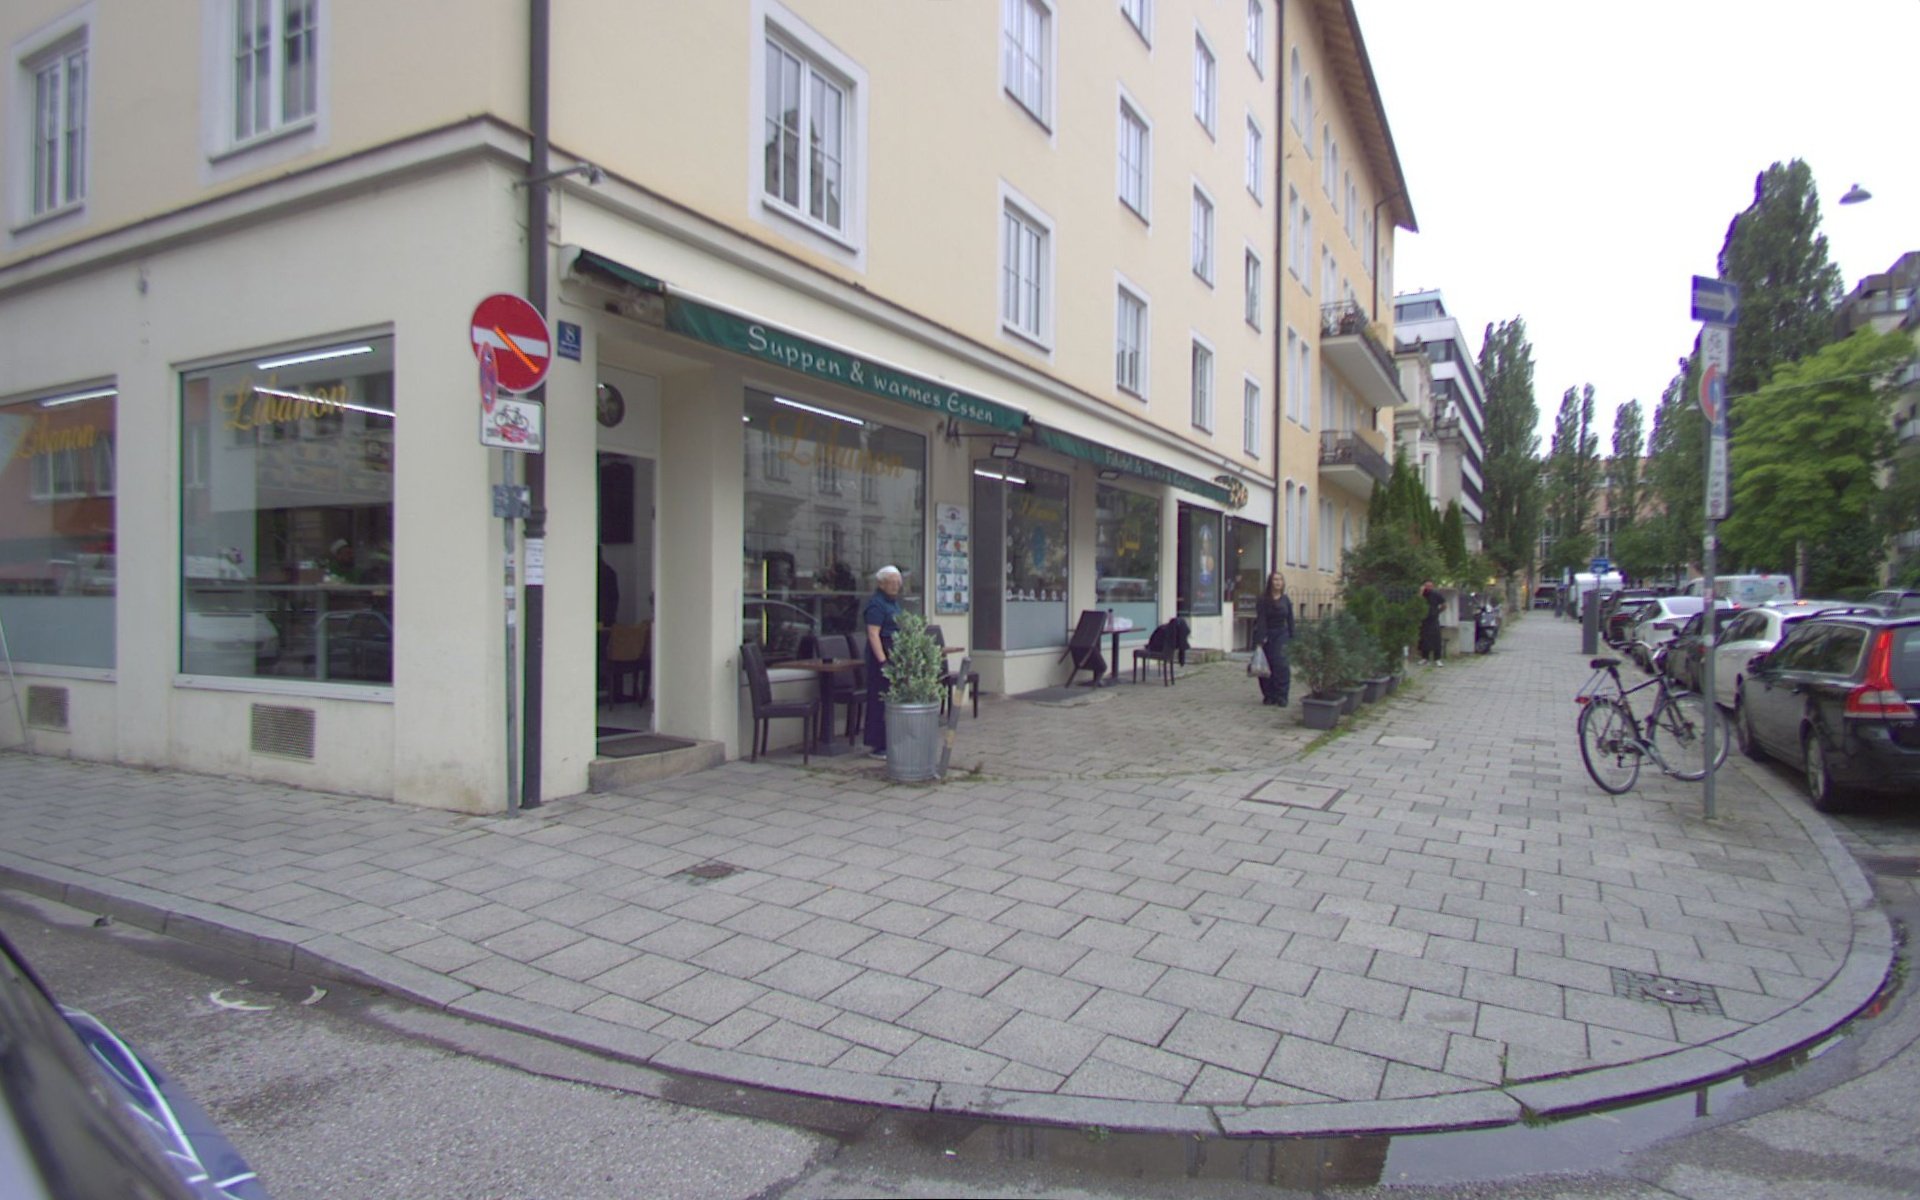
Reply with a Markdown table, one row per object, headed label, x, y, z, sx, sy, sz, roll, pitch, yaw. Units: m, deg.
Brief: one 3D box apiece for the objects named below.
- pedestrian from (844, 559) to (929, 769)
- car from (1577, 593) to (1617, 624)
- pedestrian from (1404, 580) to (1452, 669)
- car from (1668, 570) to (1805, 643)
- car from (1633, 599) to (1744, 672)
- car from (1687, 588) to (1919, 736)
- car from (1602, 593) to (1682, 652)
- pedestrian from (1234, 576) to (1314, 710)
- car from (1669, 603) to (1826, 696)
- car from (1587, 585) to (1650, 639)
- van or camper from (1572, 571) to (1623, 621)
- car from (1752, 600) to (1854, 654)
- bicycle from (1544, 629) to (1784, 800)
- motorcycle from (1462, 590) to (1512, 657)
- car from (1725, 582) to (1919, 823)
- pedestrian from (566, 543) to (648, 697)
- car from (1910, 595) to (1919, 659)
| label | x | y | z | sx | sy | sz | roll | pitch | yaw |
| --- | --- | --- | --- | --- | --- | --- | --- | --- | --- |
| pedestrian | -0.598 | 0.509 | 8.337 | 0.533 | 1.654 | 0.603 | 0 | 0 | 14 |
| car | 35.928 | 0.465 | 57.139 | 1.701 | 1.660 | 3.960 | 0 | 0 | 30 |
| pedestrian | 9.153 | 0.466 | 19.784 | 0.730 | 1.669 | 0.783 | 2 | 1 | 30 |
| car | 28.172 | 0.231 | 36.923 | 2.141 | 2.494 | 4.586 | 0 | 0 | 12 |
| car | 15.863 | 0.702 | 22.190 | 1.614 | 1.453 | 3.958 | 0 | 0 | 31 |
| car | 10.415 | 0.663 | 12.521 | 1.676 | 1.519 | 4.224 | -3 | -1 | 28 |
| car | 20.697 | 0.640 | 30.821 | 1.701 | 1.660 | 3.960 | 0 | 0 | 30 |
| pedestrian | 3.887 | 0.499 | 12.496 | 0.746 | 1.563 | 0.844 | 2 | 1 | 29 |
| car | 12.897 | 0.732 | 16.775 | 1.588 | 1.351 | 3.773 | 0 | 0 | 31 |
| car | 24.271 | 0.422 | 37.410 | 1.701 | 1.874 | 3.960 | 0 | 0 | 30 |
| van or camper | 39.543 | -0.250 | 62.868 | 2.418 | 2.957 | 5.318 | 0 | 0 | 30 |
| car | 22.148 | 0.676 | 26.687 | 1.600 | 1.340 | 2.922 | 0 | 0 | 31 |
| bicycle | 5.451 | 0.832 | 7.829 | 1.803 | 1.178 | 0.611 | 0 | 1 | -22 |
| motorcycle | 12.535 | 0.563 | 24.027 | 0.960 | 1.473 | 2.860 | 0 | -2 | 29 |
| car | 7.851 | 0.641 | 8.206 | 1.895 | 1.527 | 4.306 | -4 | -2 | 29 |
| pedestrian | -4.188 | 0.236 | 11.993 | 0.746 | 1.738 | 0.772 | 2 | -1 | -31 |
| car | 23.085 | 0.641 | 22.767 | 1.681 | 1.545 | 3.830 | 0 | 0 | 30 |
